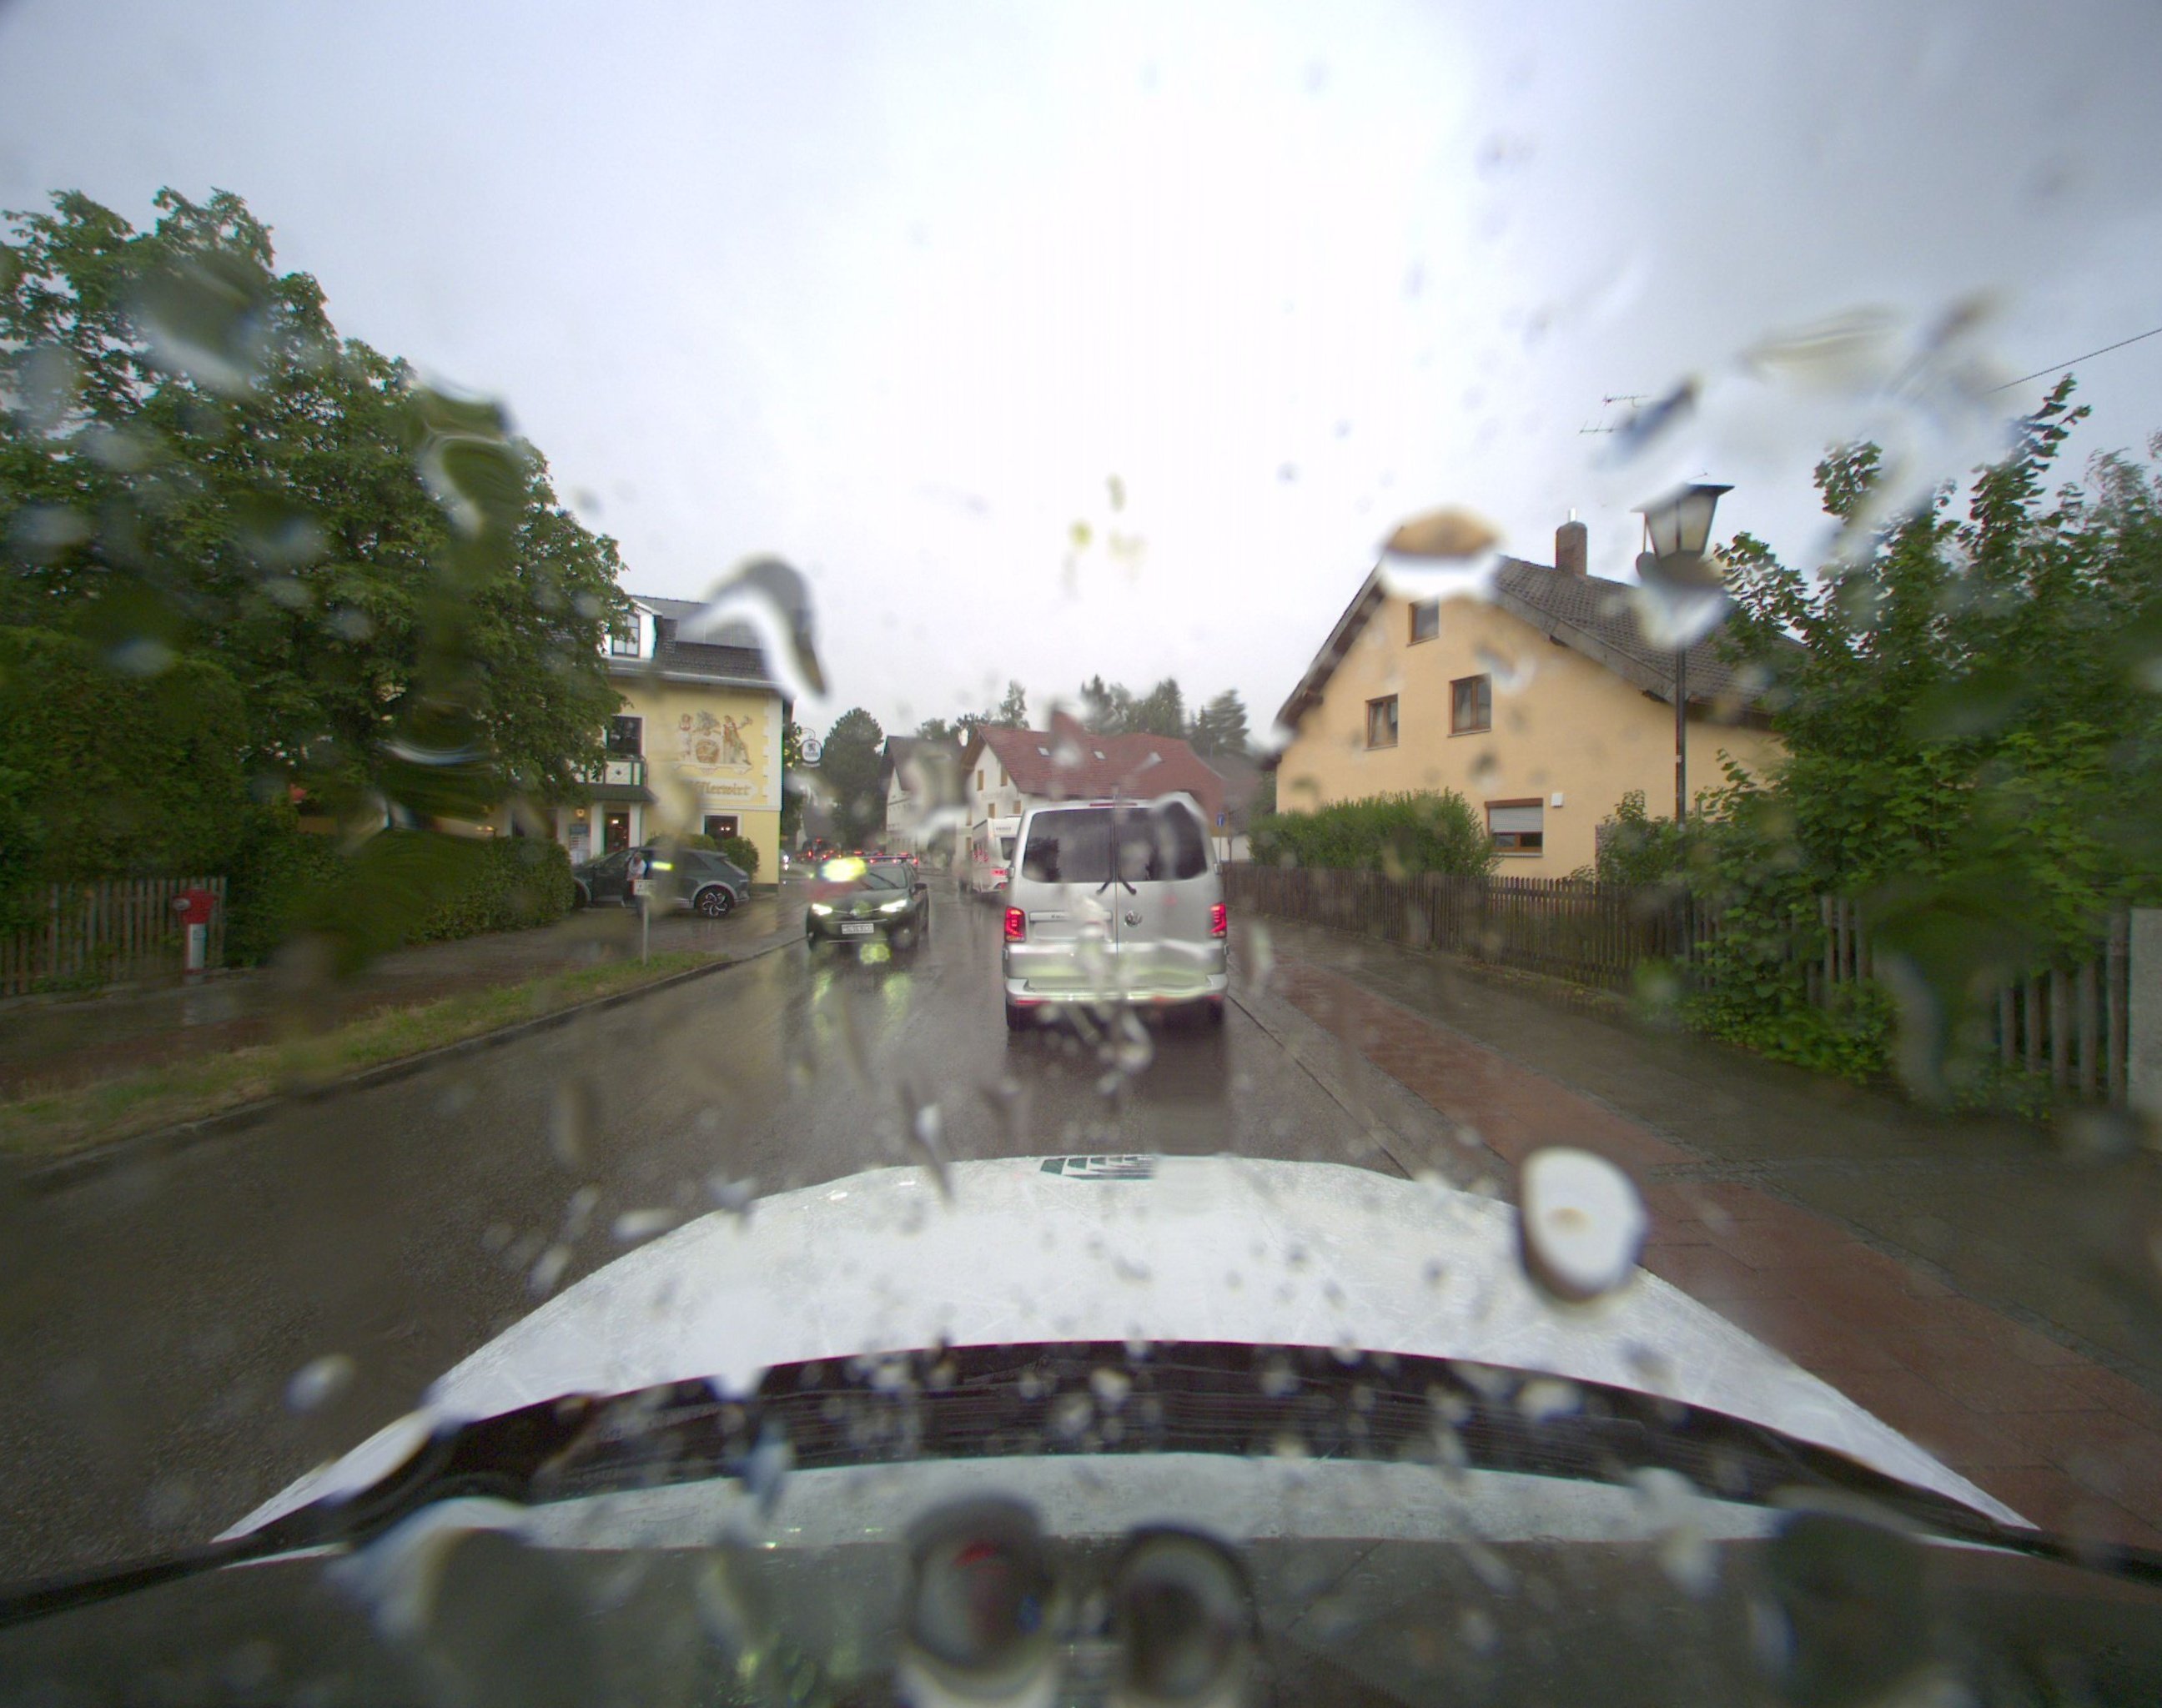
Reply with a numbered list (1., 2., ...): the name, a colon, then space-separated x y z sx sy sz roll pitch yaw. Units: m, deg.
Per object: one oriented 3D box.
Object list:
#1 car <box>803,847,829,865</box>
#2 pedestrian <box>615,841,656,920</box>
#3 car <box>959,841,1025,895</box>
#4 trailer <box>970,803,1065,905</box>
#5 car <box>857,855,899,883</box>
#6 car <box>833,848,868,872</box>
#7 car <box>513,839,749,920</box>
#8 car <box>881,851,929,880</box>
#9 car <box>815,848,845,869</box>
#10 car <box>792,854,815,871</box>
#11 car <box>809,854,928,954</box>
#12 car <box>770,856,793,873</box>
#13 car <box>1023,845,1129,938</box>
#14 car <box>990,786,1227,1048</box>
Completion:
1. car: -29.425 0.210 90.344 2.179 1.899 4.974 1 0 -25
2. pedestrian: -9.761 0.578 17.863 0.489 1.690 0.554 3 -1 1
3. car: -3.564 0.503 31.775 2.055 1.899 5.154 -1 0 -12
4. trailer: -2.217 -0.011 26.305 2.272 2.904 6.107 -1 0 -12
5. car: -15.229 1.078 61.017 2.179 1.899 4.974 1 0 -25
6. car: -19.737 0.519 69.583 2.179 1.899 4.974 1 0 -25
7. car: -10.193 0.607 18.810 4.499 1.567 1.824 4 1 -27
8. car: -12.056 0.770 55.440 2.179 1.899 4.973 1 -1 -25
9. car: -24.659 0.449 79.935 2.179 1.899 4.974 1 0 -25
10. car: -34.116 0.992 100.142 2.179 1.899 4.974 1 0 -25
11. car: -3.722 0.785 14.907 1.638 1.520 4.175 -1 0 -9
12. car: -32.800 1.105 89.200 1.932 1.744 4.157 -1 0 -25
13. car: -0.246 0.649 17.086 1.706 1.584 4.675 -2 1 -6
14. car: 0.305 0.479 8.725 1.769 1.962 5.077 -1 0 2
